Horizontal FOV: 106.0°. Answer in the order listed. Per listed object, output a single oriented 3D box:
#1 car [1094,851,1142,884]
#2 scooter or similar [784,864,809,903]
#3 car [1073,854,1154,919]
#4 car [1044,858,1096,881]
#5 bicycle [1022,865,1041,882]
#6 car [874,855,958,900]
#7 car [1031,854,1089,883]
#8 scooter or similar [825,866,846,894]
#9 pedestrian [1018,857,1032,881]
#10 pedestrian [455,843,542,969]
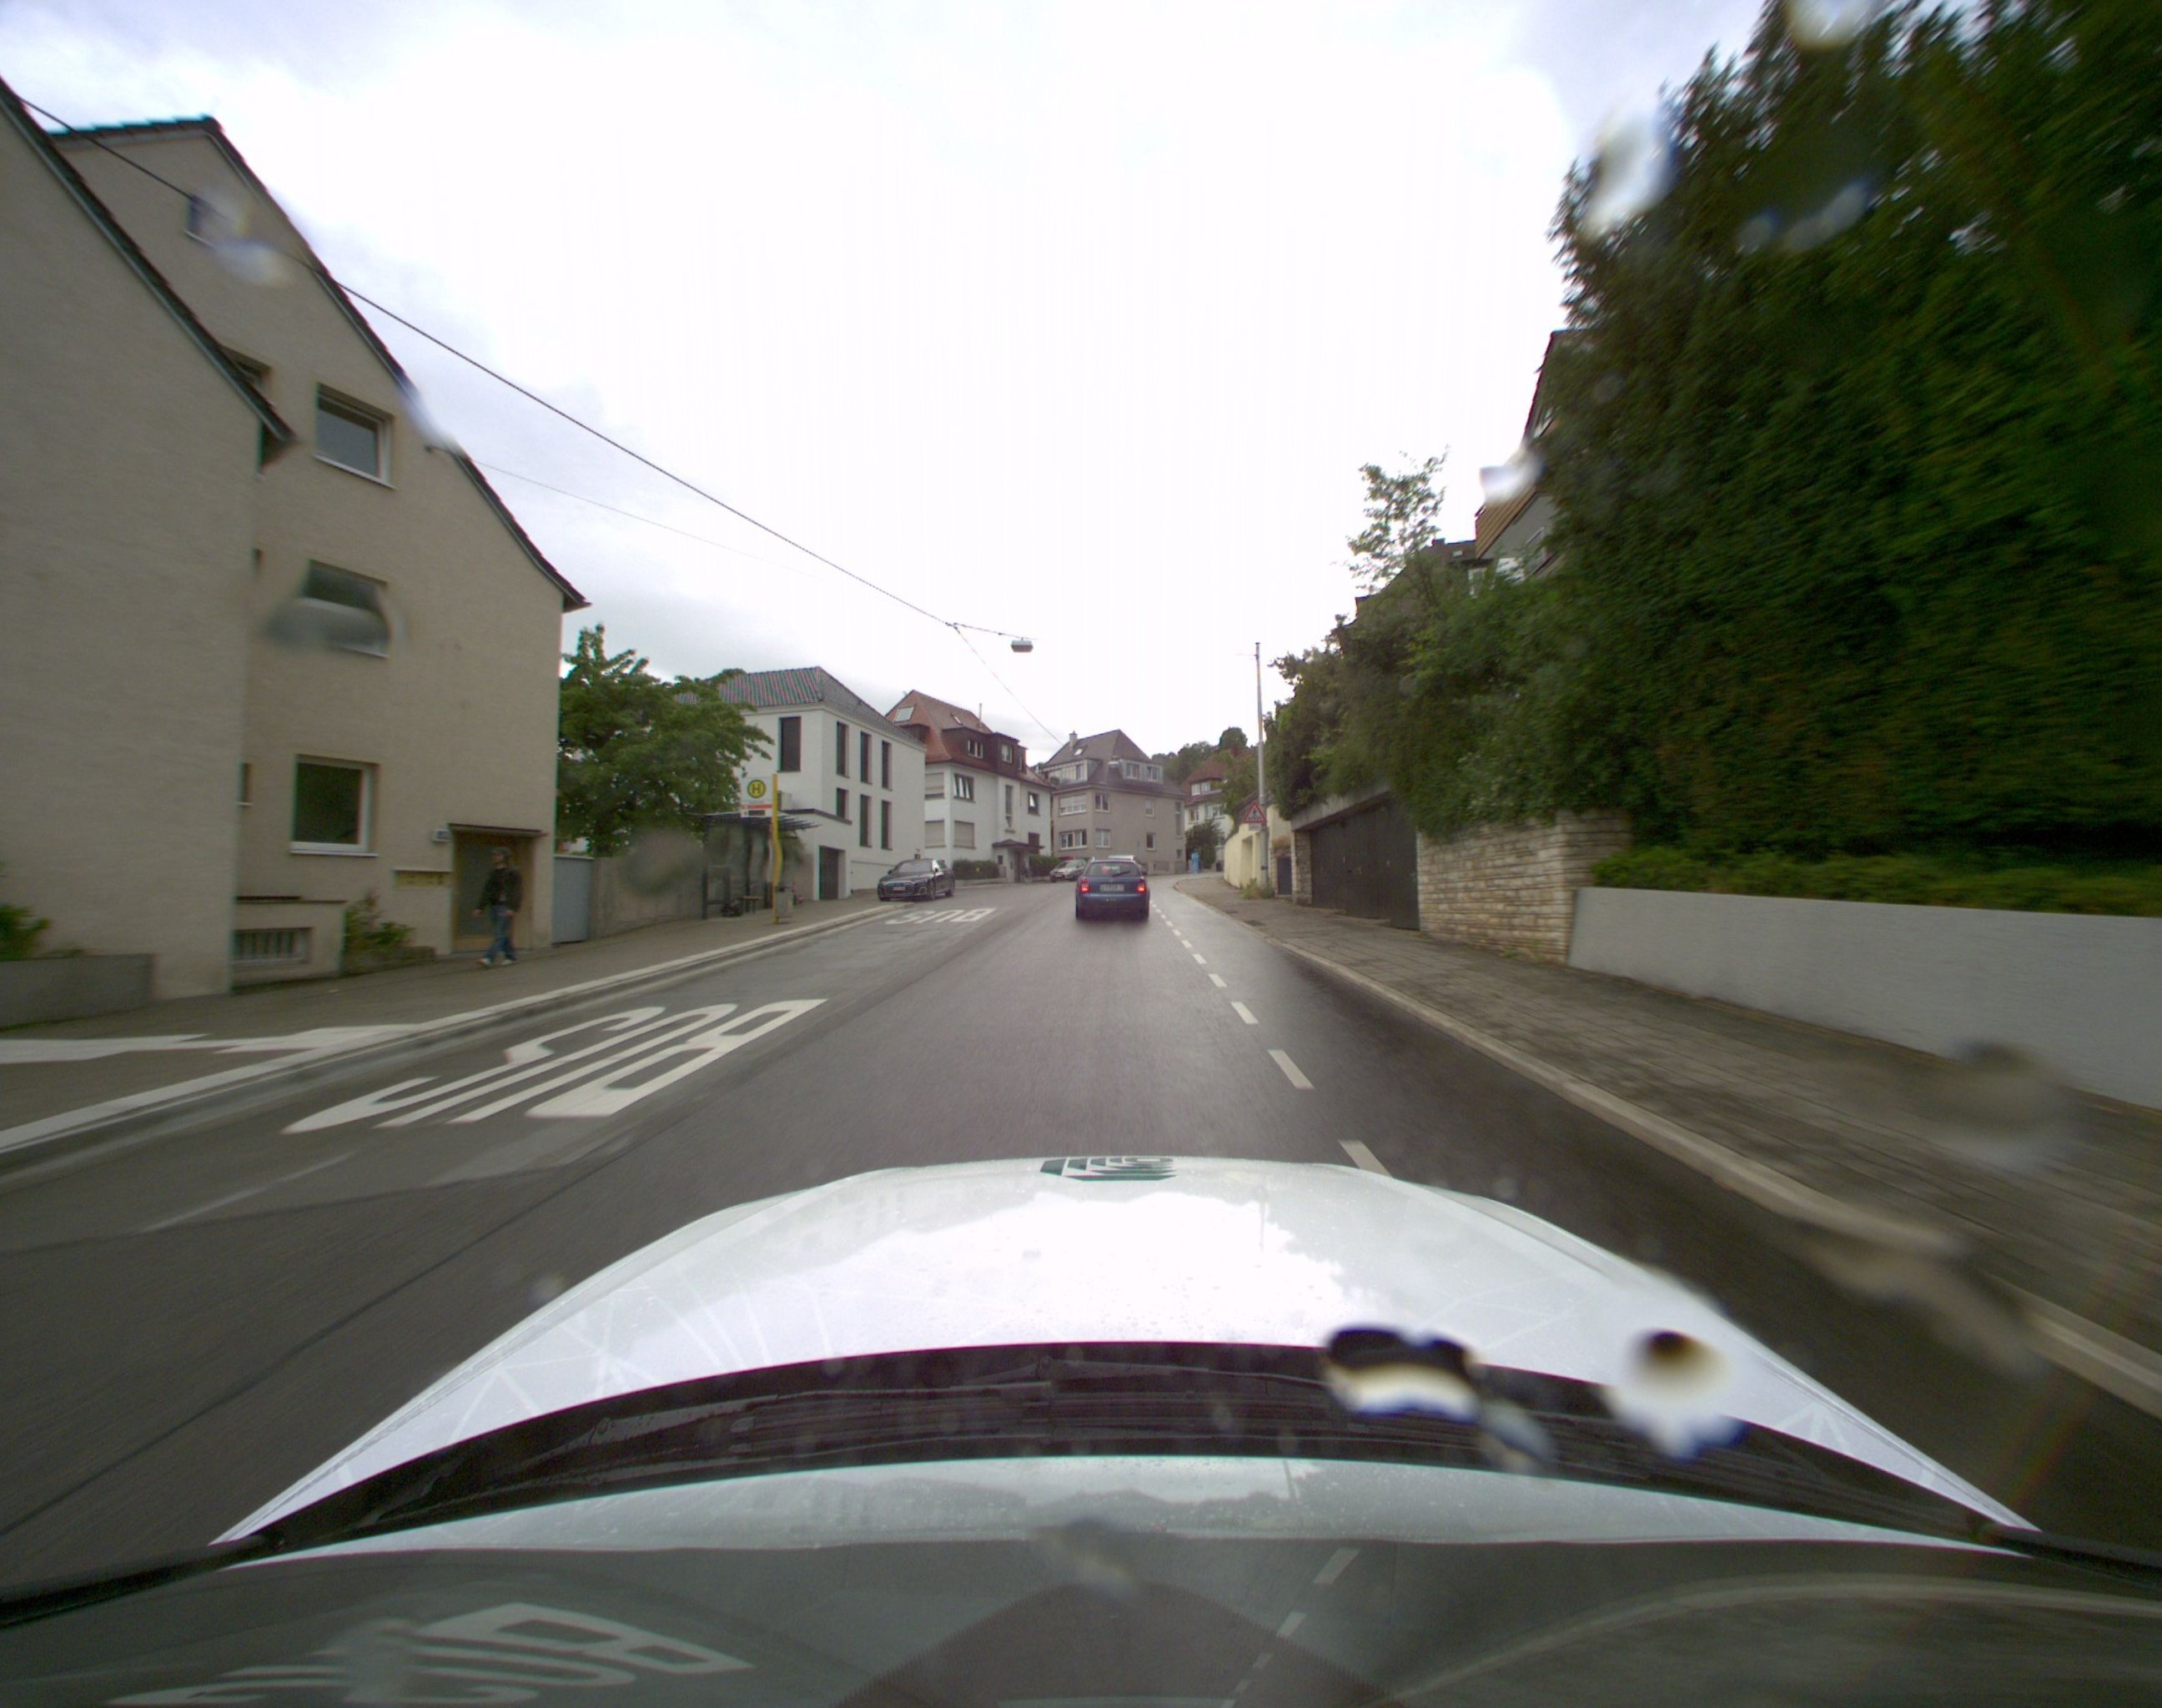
[{"bbox_3d":[1.604,0.636,36.612,1.807,1.361,3.996,0,-2,-2],"label":"car"},{"bbox_3d":[-8.972,0.923,25.747,0.336,1.220,1.123,-1,-1,3],"label":"scooter or similar"},{"bbox_3d":[0.828,0.717,20.228,1.804,1.439,4.084,0,0,3],"label":"car"},{"bbox_3d":[-0.718,1.043,55.402,1.819,1.425,4.253,-4,-1,24],"label":"car"},{"bbox_3d":[-3.317,1.294,54.597,0.452,1.067,1.931,-2,0,21],"label":"bicycle"},{"bbox_3d":[-6.046,0.851,30.456,1.821,1.486,4.995,-2,-1,3],"label":"car"},{"bbox_3d":[-1.674,1.141,64.528,3.948,1.823,2.013,-7,-3,30],"label":"car"},{"bbox_3d":[-9.835,1.035,32.665,0.428,1.110,1.312,-1,0,0],"label":"scooter or similar"},{"bbox_3d":[-3.762,1.024,54.663,0.488,1.577,0.952,-2,-1,20],"label":"pedestrian"},{"bbox_3d":[-8.904,0.777,12.474,0.783,1.857,0.728,0,-1,2],"label":"pedestrian"}]
